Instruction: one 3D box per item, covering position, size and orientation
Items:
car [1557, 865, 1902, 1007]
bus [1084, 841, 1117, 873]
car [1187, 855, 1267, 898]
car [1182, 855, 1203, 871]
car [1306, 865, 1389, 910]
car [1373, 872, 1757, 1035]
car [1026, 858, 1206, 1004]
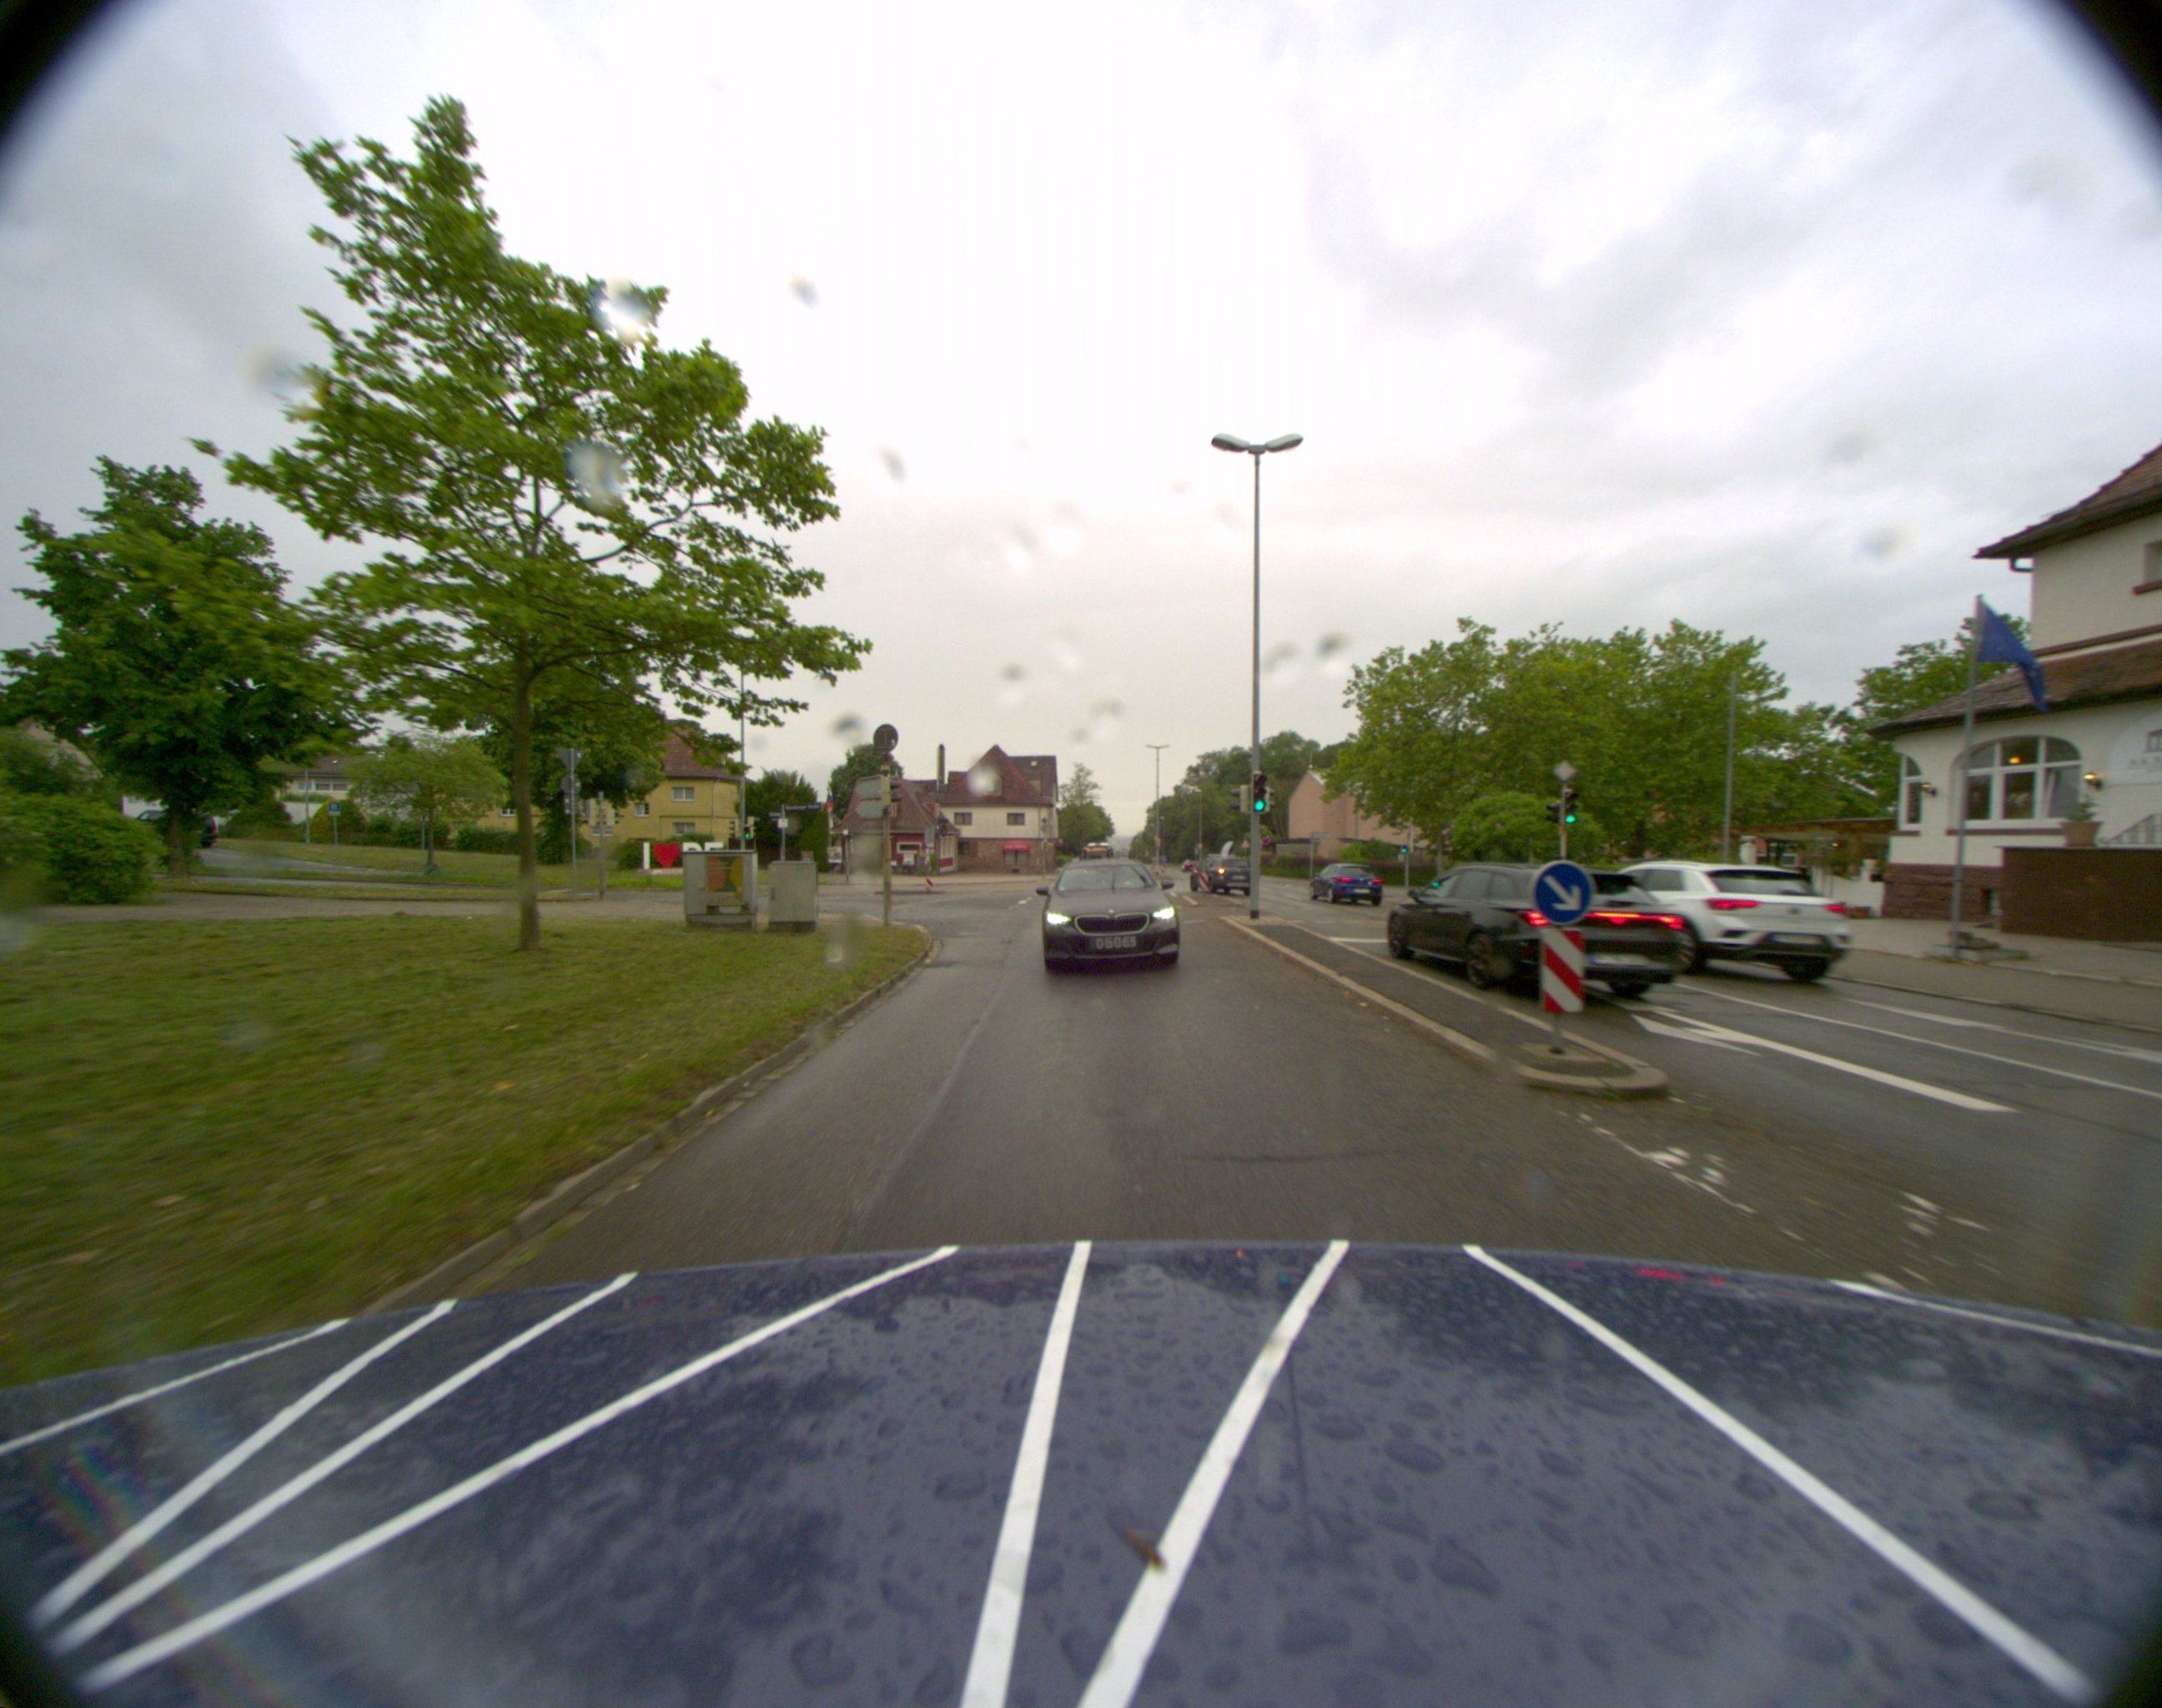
[{"bbox_3d":[9.198,1.029,11.334,1.997,1.674,4.002,1,0,6],"label":"car"},{"bbox_3d":[1.785,0.236,73.627,2.897,2.770,10.385,-2,0,0],"label":"bus"},{"bbox_3d":[6.081,0.902,32.136,2.000,1.652,4.300,1,0,-8],"label":"car"},{"bbox_3d":[12.553,1.008,86.009,1.998,1.652,4.305,1,0,3],"label":"car"},{"bbox_3d":[9.691,1.161,27.931,1.771,1.411,4.106,3,0,4],"label":"car"},{"bbox_3d":[5.420,0.993,9.393,1.998,1.420,4.388,1,0,1],"label":"car"},{"bbox_3d":[0.396,0.901,10.842,1.999,1.586,4.147,-3,0,0],"label":"car"}]
